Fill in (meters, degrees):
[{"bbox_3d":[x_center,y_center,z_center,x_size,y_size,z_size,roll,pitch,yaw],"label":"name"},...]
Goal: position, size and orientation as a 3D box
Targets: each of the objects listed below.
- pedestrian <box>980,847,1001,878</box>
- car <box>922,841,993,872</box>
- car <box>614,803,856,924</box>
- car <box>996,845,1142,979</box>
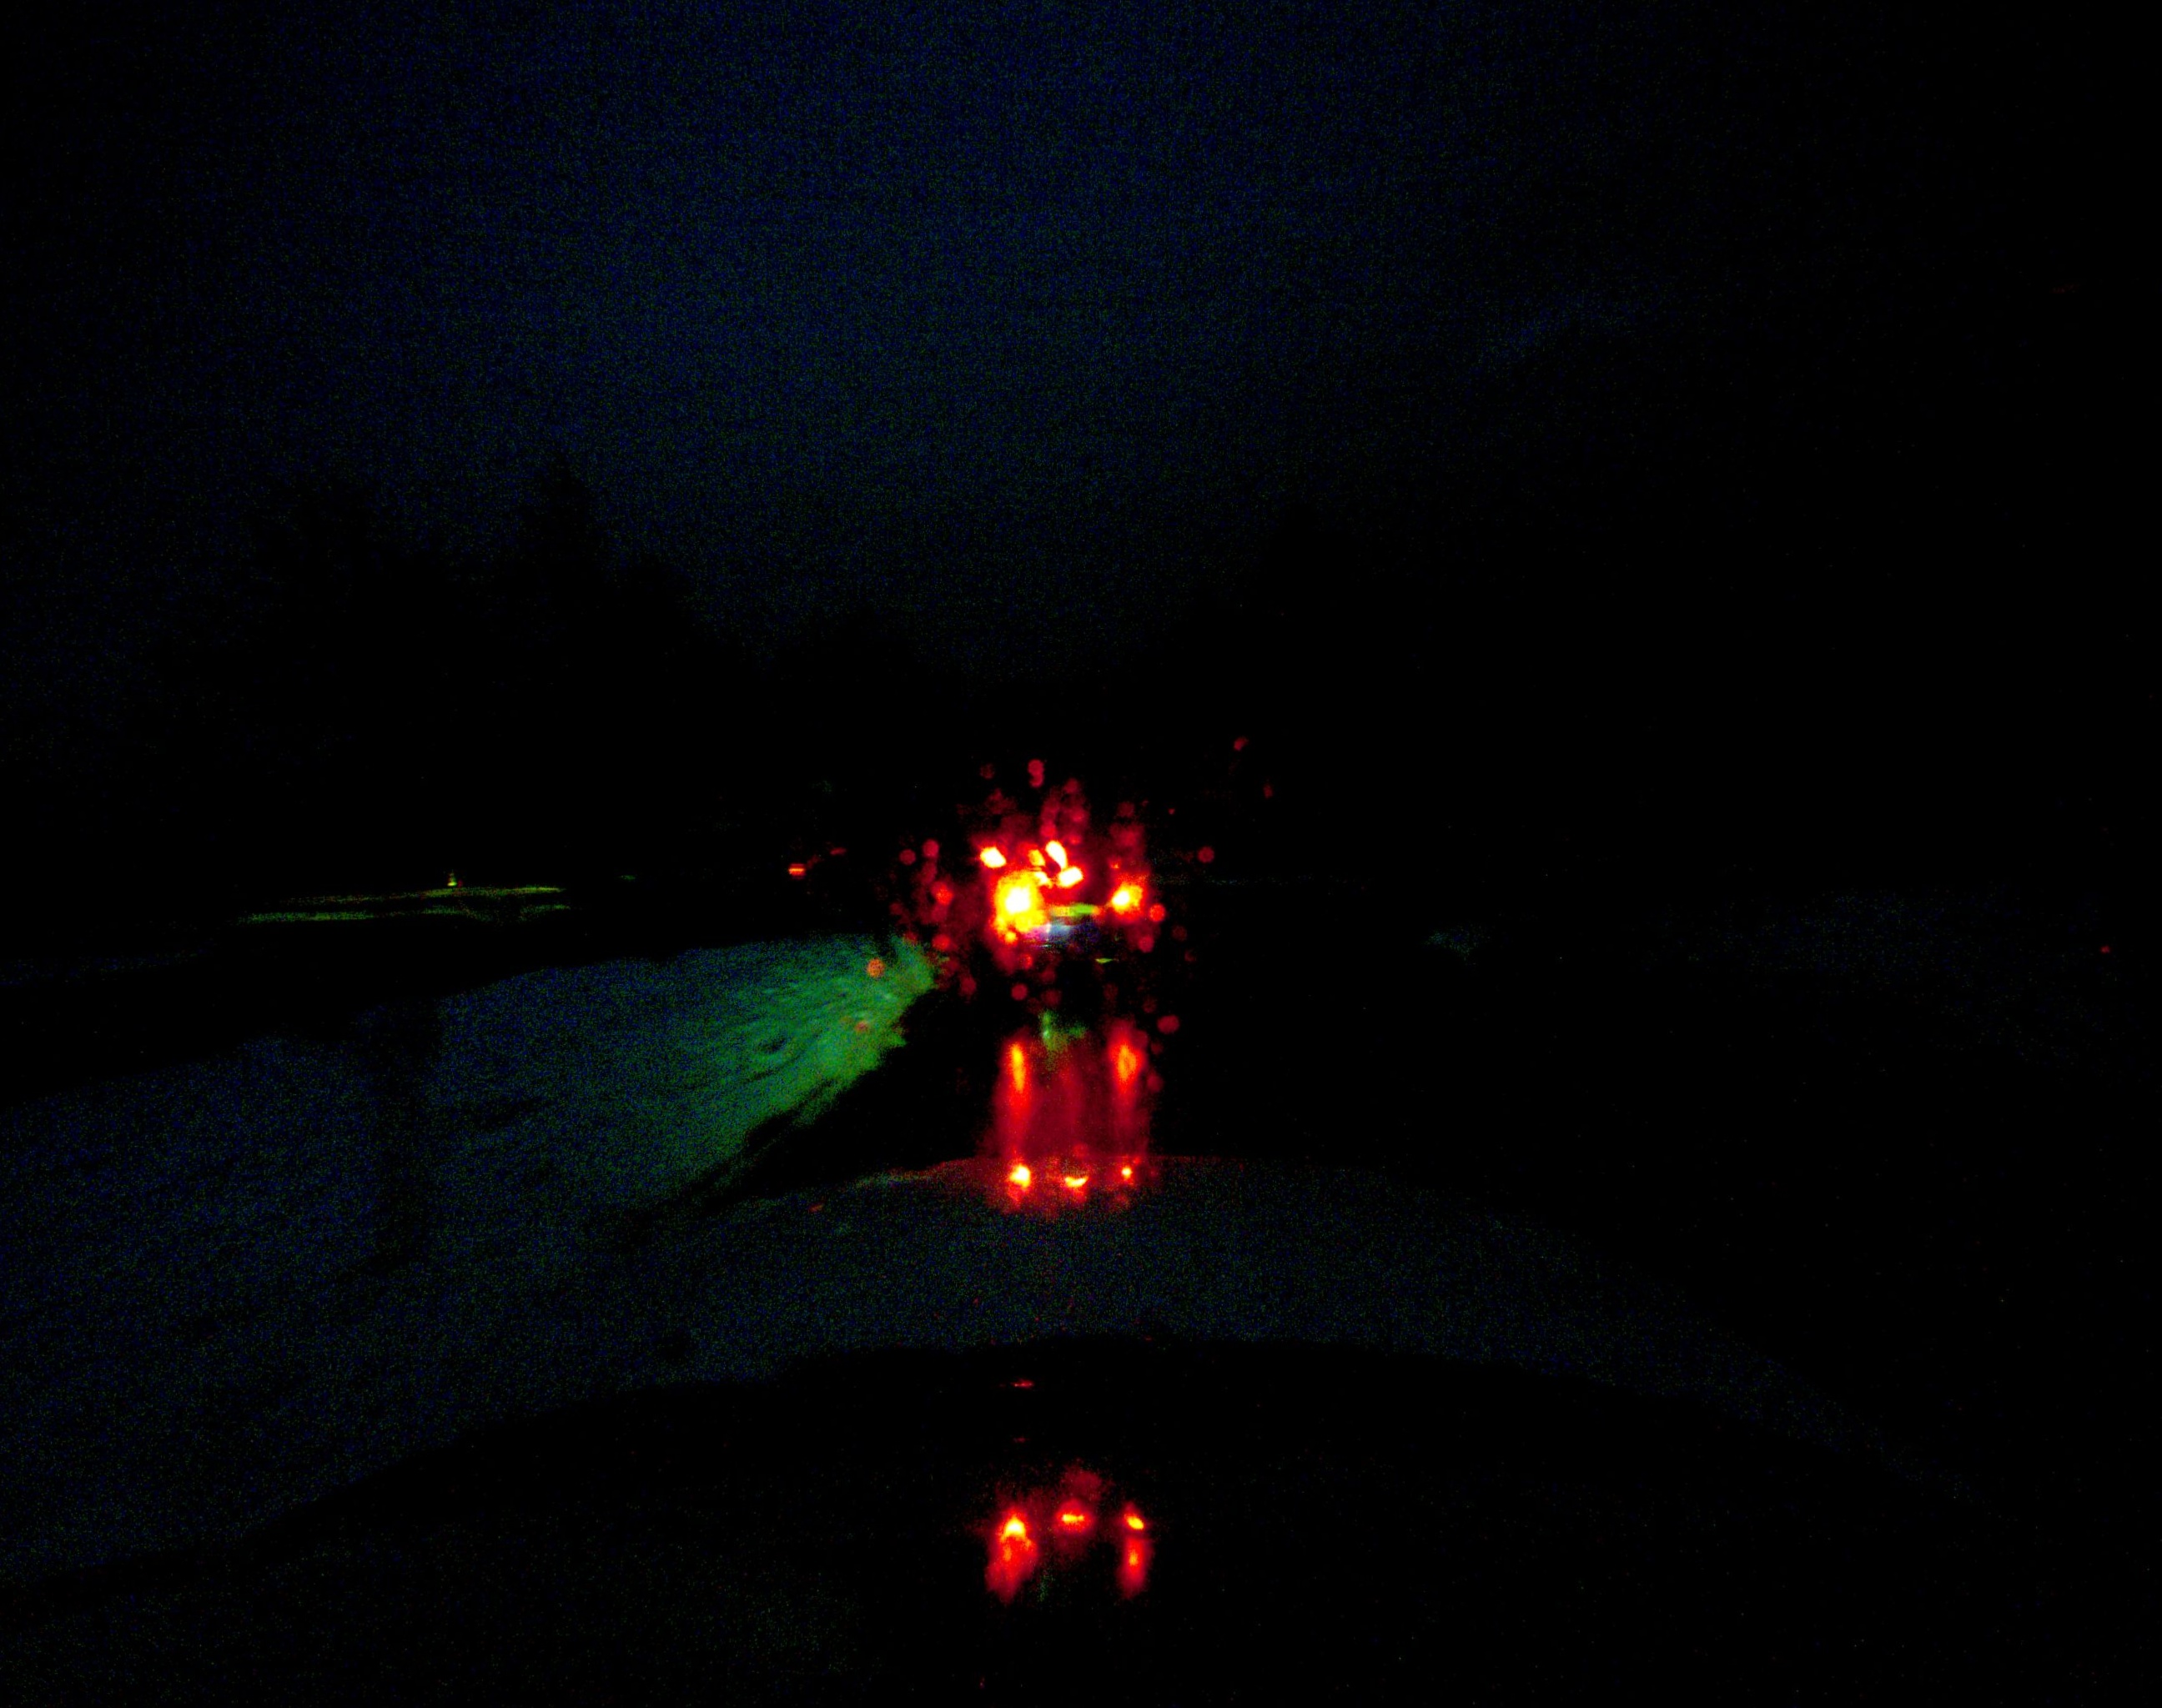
[{"bbox_3d":[-5.544,0.529,49.843,0.953,1.828,0.928,-1,-1,14],"label":"pedestrian"},{"bbox_3d":[-7.638,0.166,50.536,3.923,1.881,2.005,-1,-1,9],"label":"car"},{"bbox_3d":[-8.569,0.248,20.194,5.465,2.696,2.164,-1,-1,20],"label":"car"},{"bbox_3d":[-0.084,0.664,11.446,1.686,1.552,3.857,-1,0,2],"label":"car"}]
